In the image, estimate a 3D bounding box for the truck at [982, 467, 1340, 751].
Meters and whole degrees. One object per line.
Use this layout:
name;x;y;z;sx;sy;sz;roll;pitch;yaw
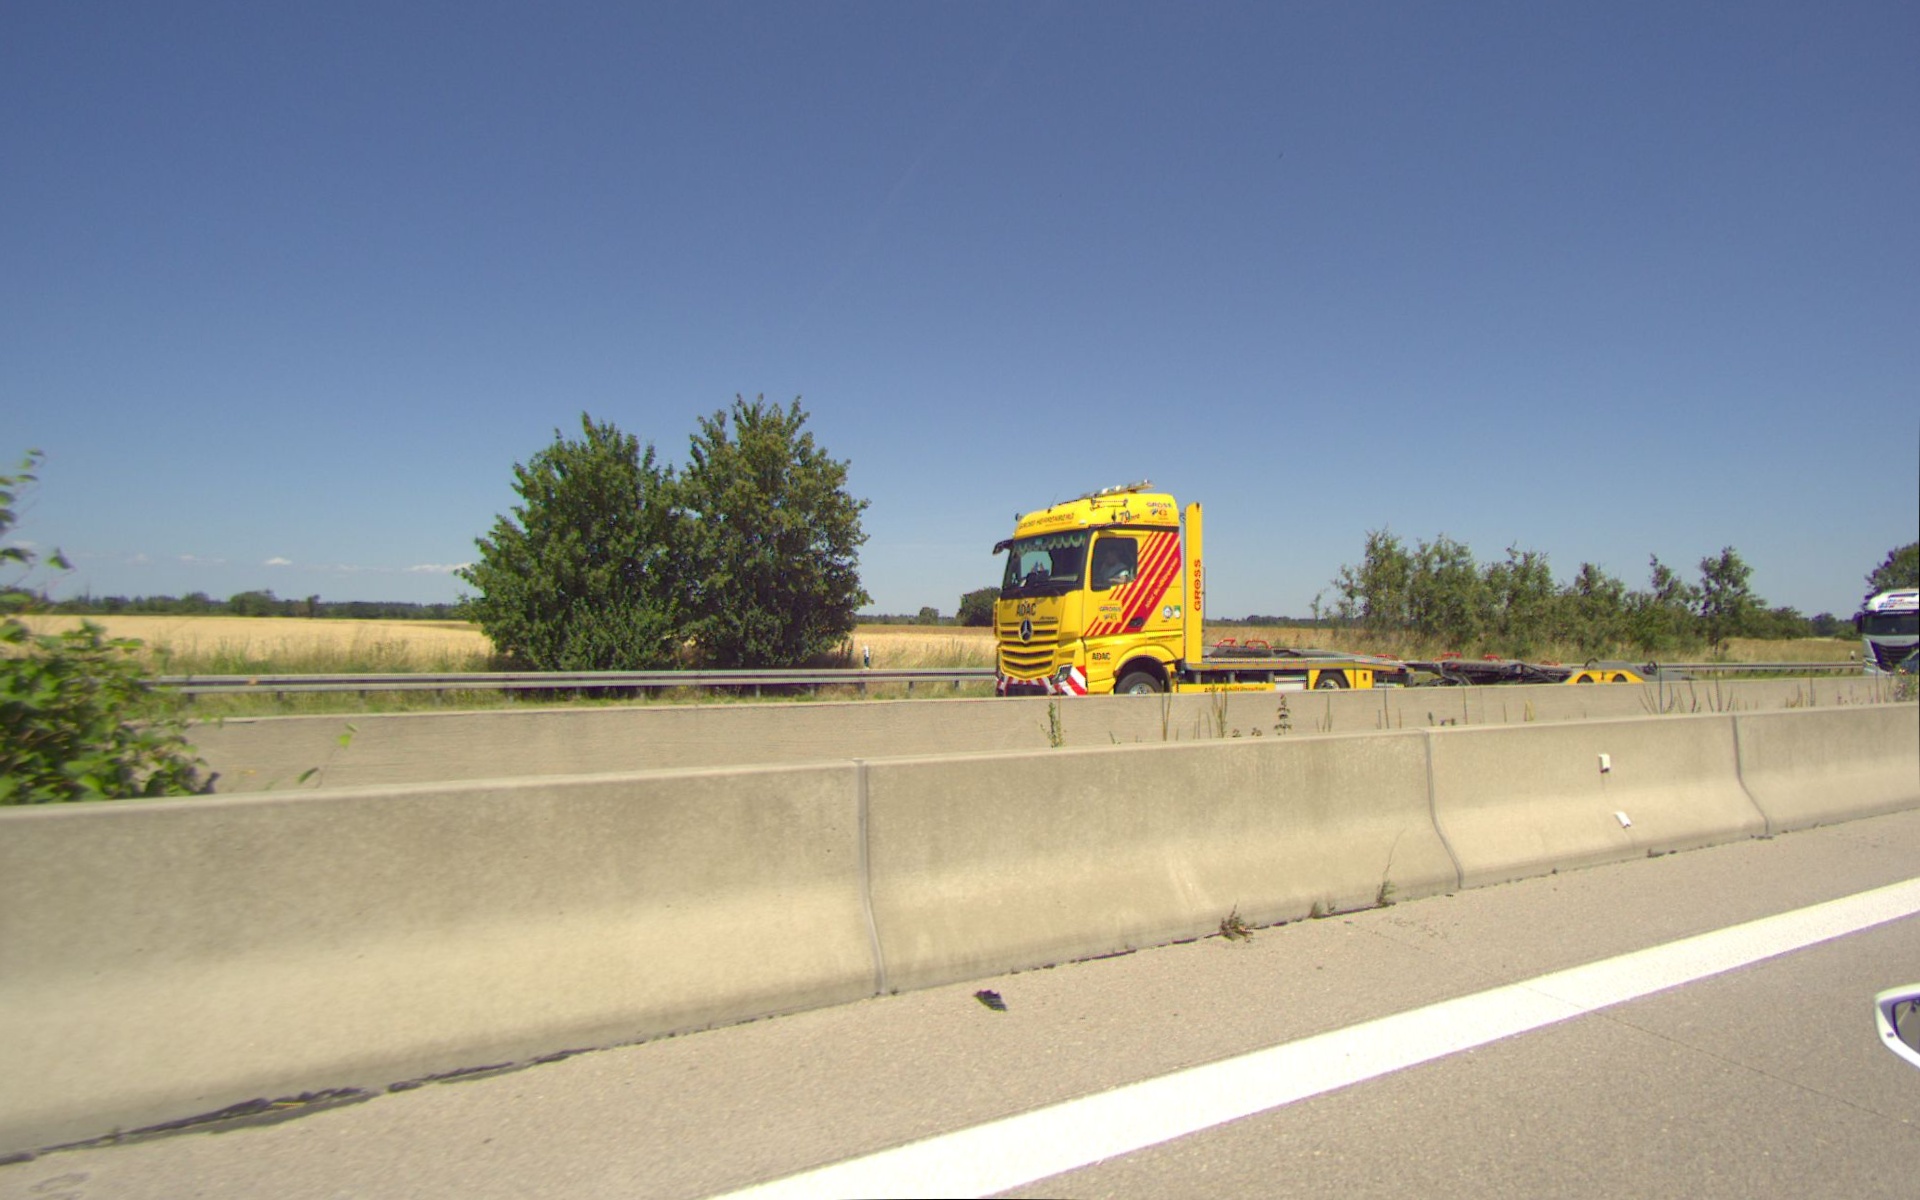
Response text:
truck;3.458;0.171;17.170;5.473;4.134;2.731;1;1;-29

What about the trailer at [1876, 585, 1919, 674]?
trailer;47.571;1.426;47.043;13.663;3.853;2.757;2;0;-30

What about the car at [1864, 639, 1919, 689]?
car;33.353;2.183;34.645;4.318;1.605;1.984;2;-1;-30

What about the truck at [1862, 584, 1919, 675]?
truck;42.743;1.293;44.543;4.398;3.891;2.757;1;1;-29

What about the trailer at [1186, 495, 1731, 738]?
trailer;11.349;0.428;21.618;14.434;4.093;2.764;2;0;-29
